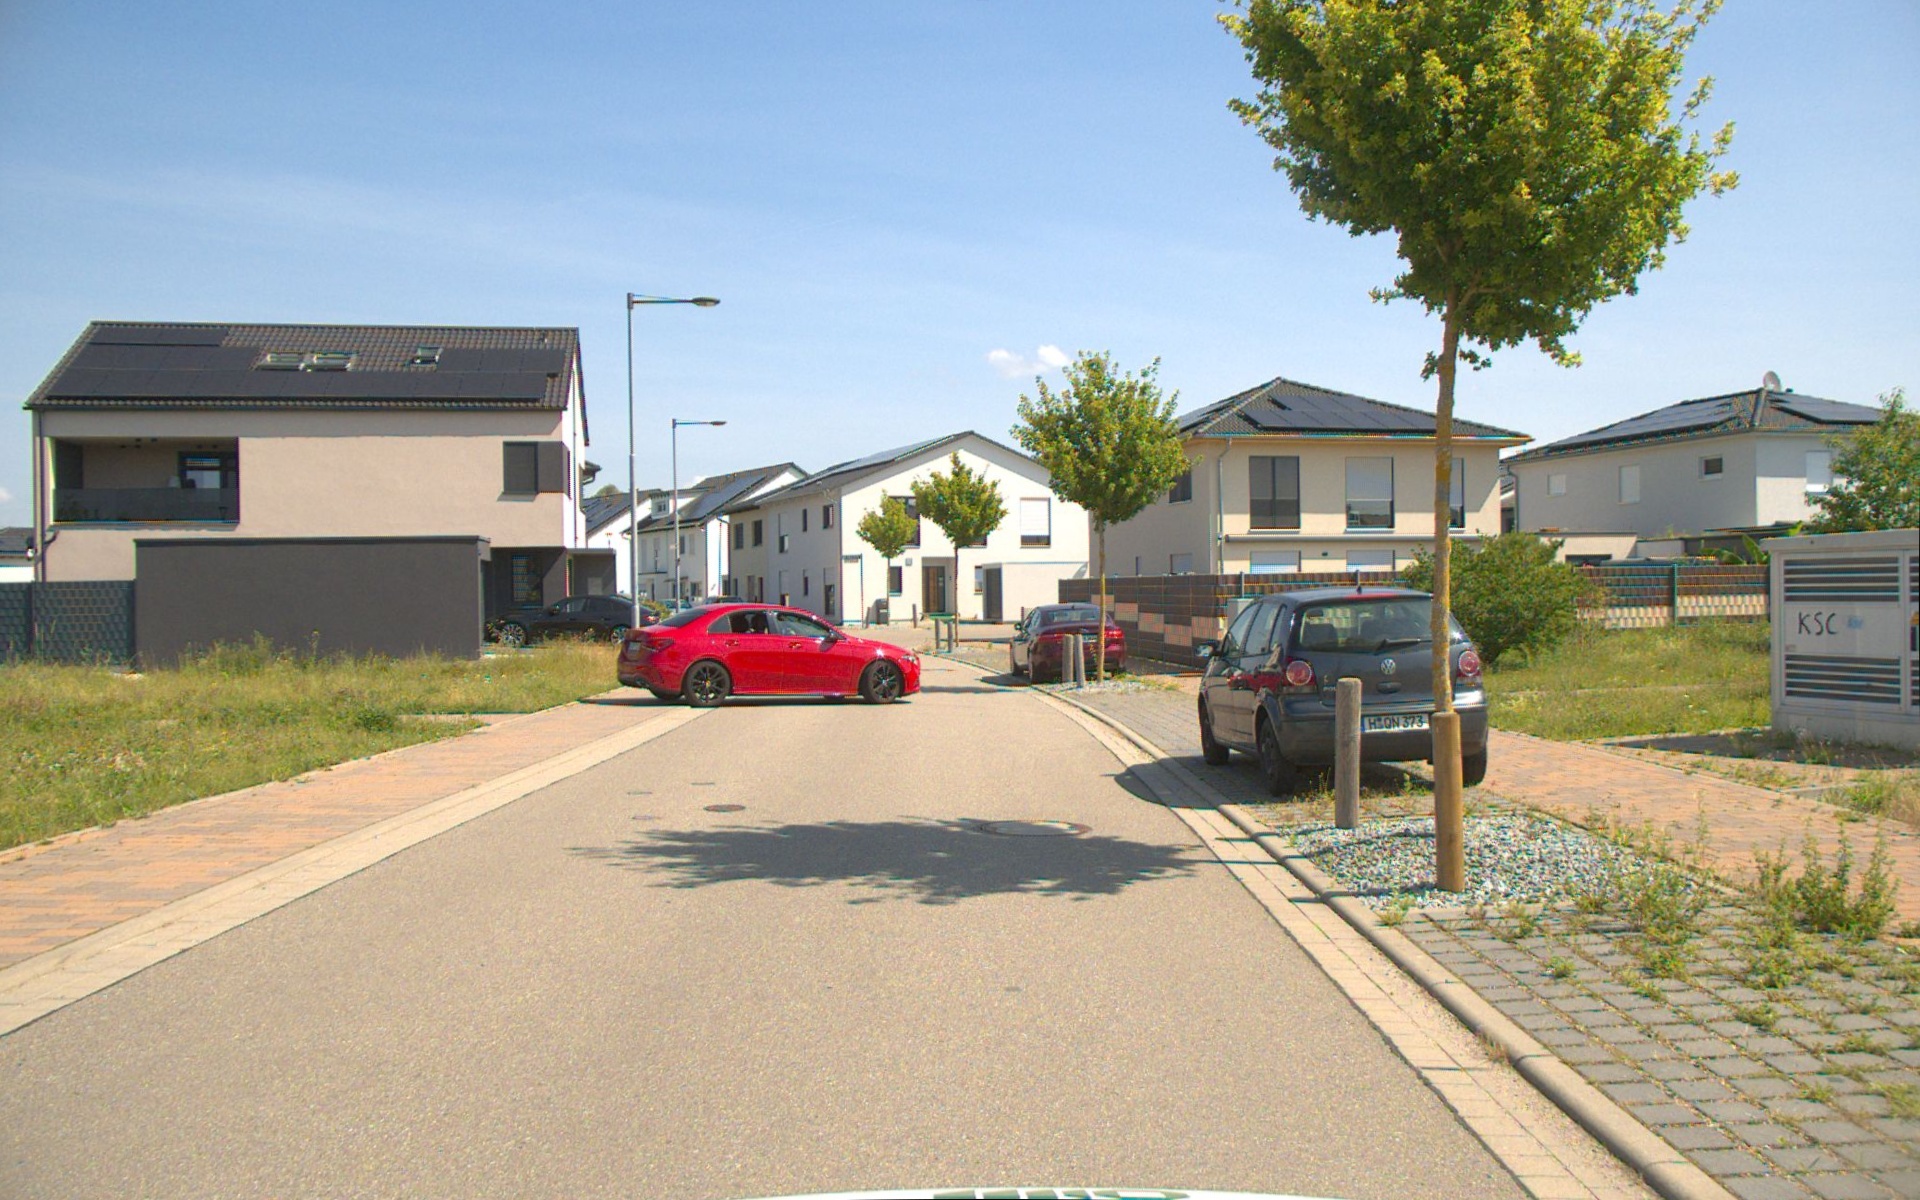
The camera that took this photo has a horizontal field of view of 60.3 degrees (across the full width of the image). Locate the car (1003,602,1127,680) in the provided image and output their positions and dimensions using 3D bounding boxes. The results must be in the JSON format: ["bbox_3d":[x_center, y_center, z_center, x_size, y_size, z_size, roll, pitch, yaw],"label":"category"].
[{"bbox_3d":[1.972,0.752,32.295,1.720,1.387,4.570,0,0,-5],"label":"car"}]

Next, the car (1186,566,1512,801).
[{"bbox_3d":[2.937,0.570,13.247,1.566,1.500,3.674,-4,0,-2],"label":"car"}]

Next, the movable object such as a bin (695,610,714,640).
[{"bbox_3d":[-8.384,0.814,54.275,0.523,0.952,0.526,1,0,0],"label":"movable object such as a bin"}]

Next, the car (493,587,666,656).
[{"bbox_3d":[-10.049,0.569,43.954,4.294,1.660,1.767,2,0,-9],"label":"car"}]

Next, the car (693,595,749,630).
[{"bbox_3d":[-10.735,0.555,74.154,1.701,1.447,3.977,-2,0,-20],"label":"car"}]

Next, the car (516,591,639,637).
[{"bbox_3d":[-13.043,0.468,56.548,3.911,1.512,1.751,-1,0,-7],"label":"car"}]

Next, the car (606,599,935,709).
[{"bbox_3d":[-2.715,0.724,23.997,4.457,1.463,1.751,0,0,-30],"label":"car"}]

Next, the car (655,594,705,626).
[{"bbox_3d":[-14.120,0.503,83.292,1.654,1.489,3.917,-2,0,-22],"label":"car"}]
